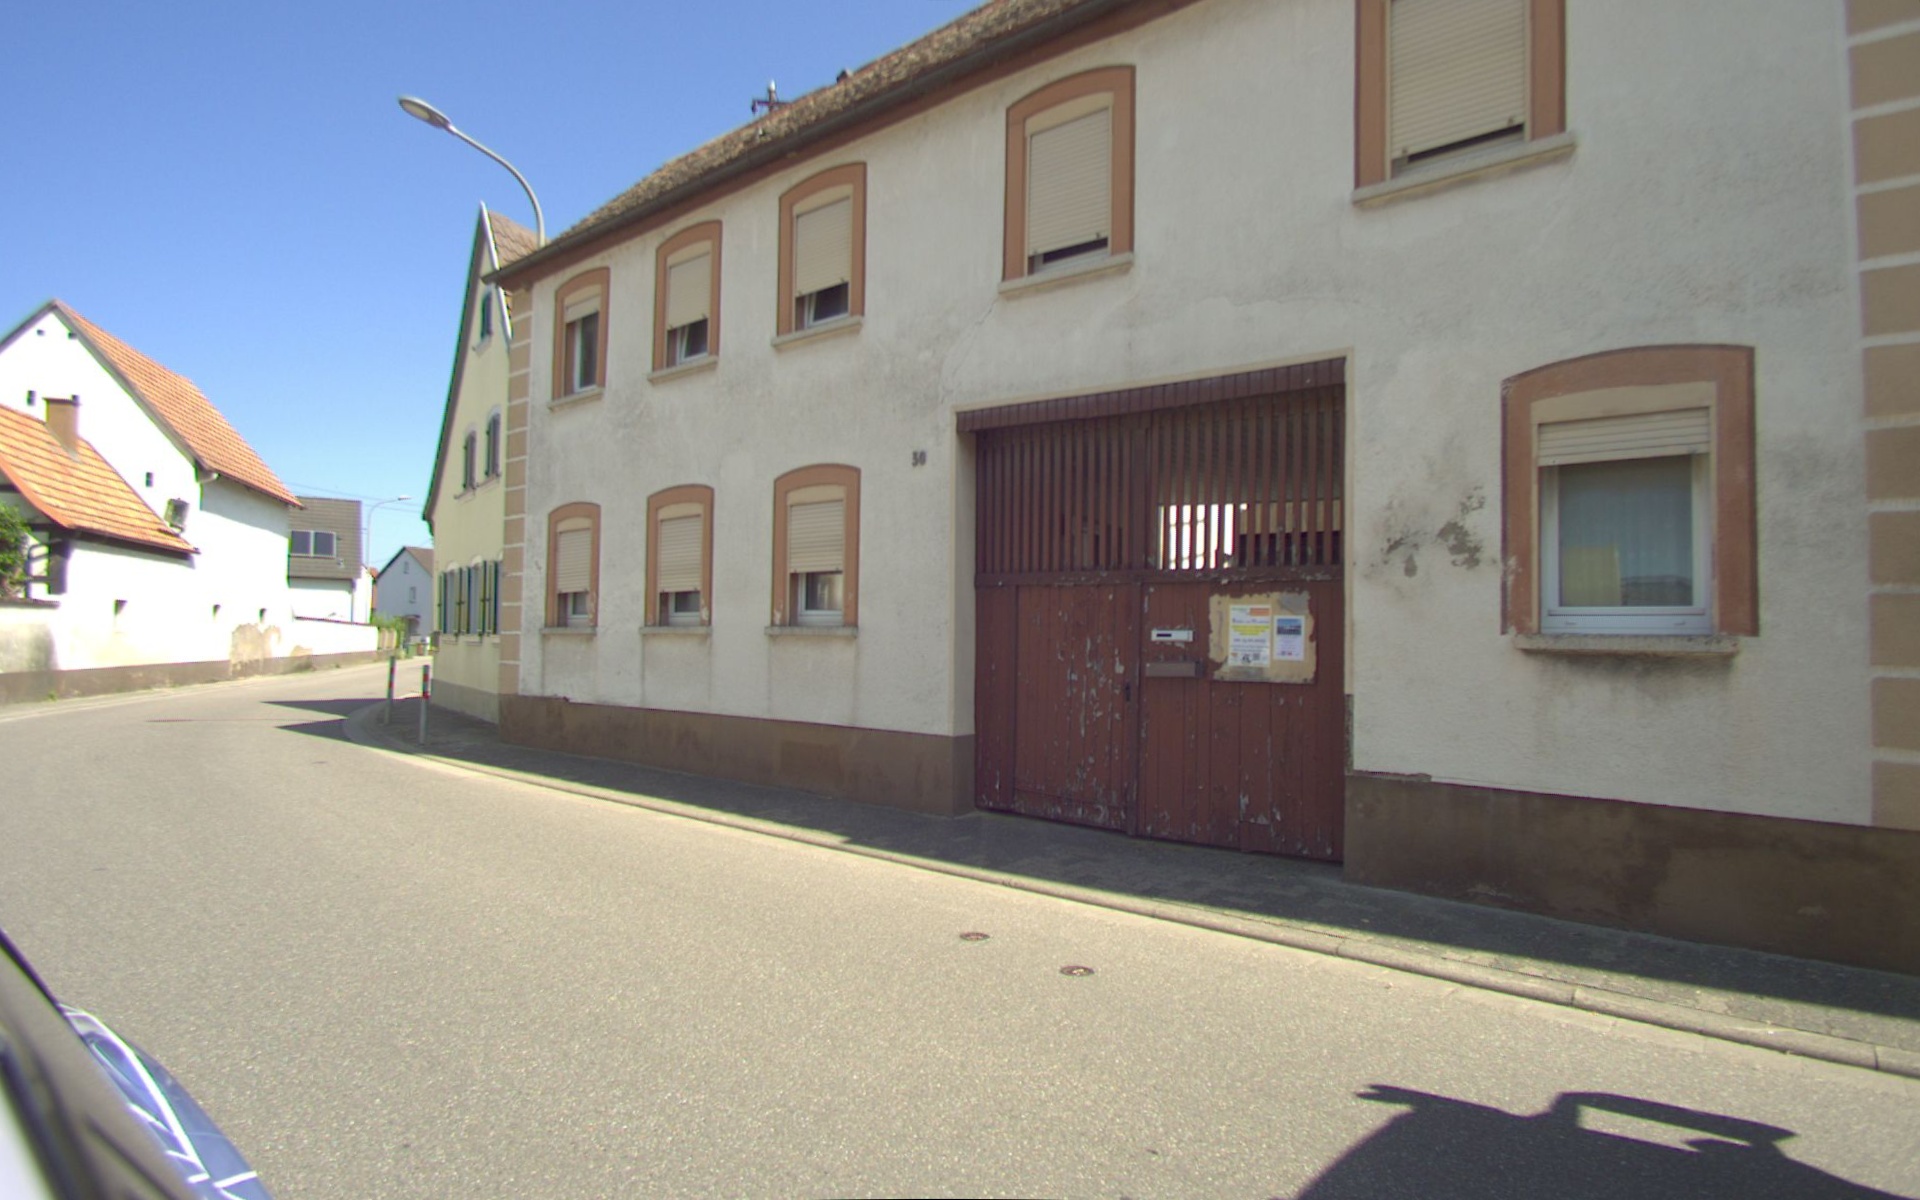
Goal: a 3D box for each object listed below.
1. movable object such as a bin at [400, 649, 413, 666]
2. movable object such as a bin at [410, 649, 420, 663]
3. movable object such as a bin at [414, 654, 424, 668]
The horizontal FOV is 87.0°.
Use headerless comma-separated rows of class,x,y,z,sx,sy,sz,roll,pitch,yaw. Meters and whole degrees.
movable object such as a bin,-33.320,3.446,60.933,0.433,0.984,0.544,-2,-5,44
movable object such as a bin,-37.943,3.922,70.487,0.497,0.984,0.434,2,-3,-21
movable object such as a bin,-38.195,4.286,71.463,0.497,0.984,0.496,2,-3,-21
